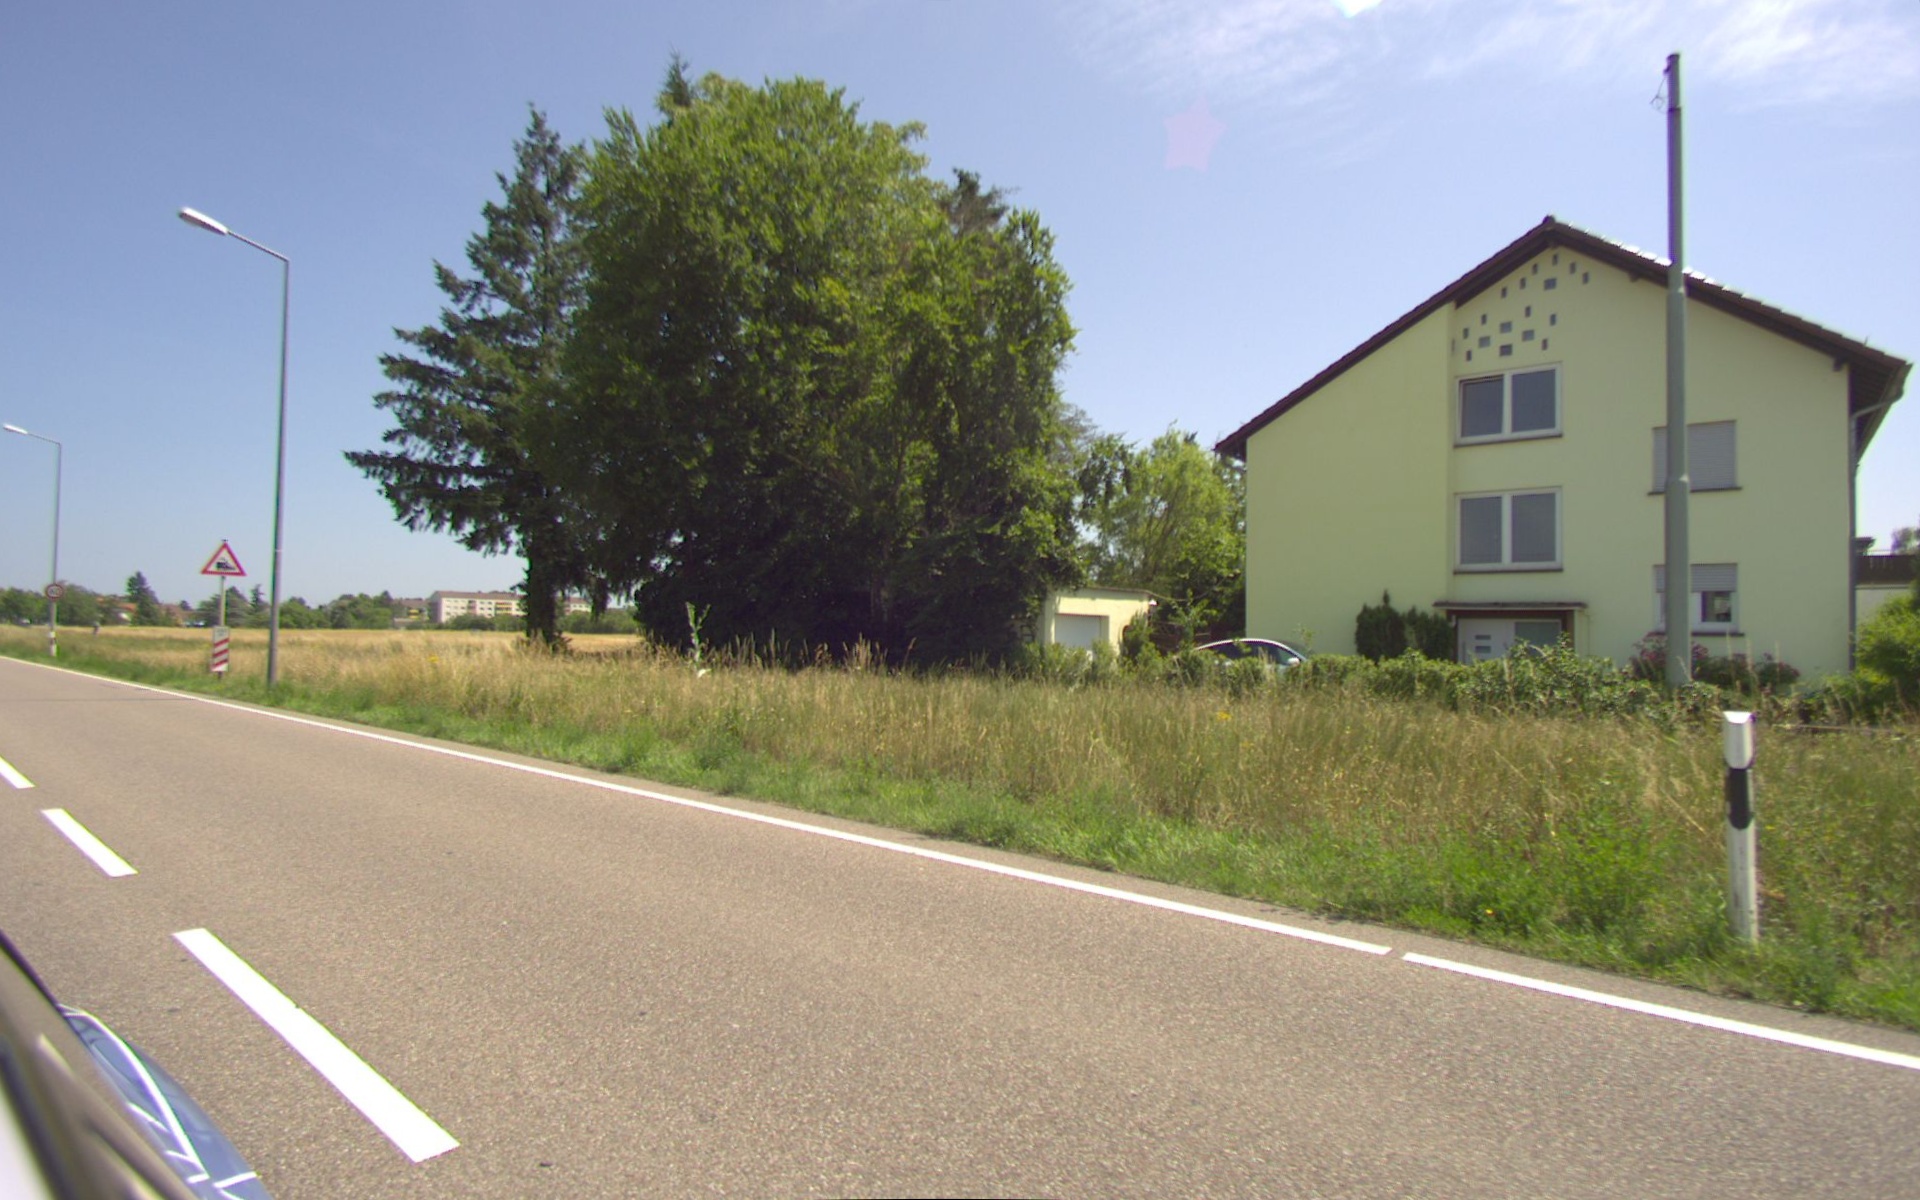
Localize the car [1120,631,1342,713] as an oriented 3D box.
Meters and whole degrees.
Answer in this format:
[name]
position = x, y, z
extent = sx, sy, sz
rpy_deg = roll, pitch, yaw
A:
[car]
position = 5.569, 1.416, 21.111
extent = 4.185, 1.503, 1.688
rpy_deg = -1, -2, 41
